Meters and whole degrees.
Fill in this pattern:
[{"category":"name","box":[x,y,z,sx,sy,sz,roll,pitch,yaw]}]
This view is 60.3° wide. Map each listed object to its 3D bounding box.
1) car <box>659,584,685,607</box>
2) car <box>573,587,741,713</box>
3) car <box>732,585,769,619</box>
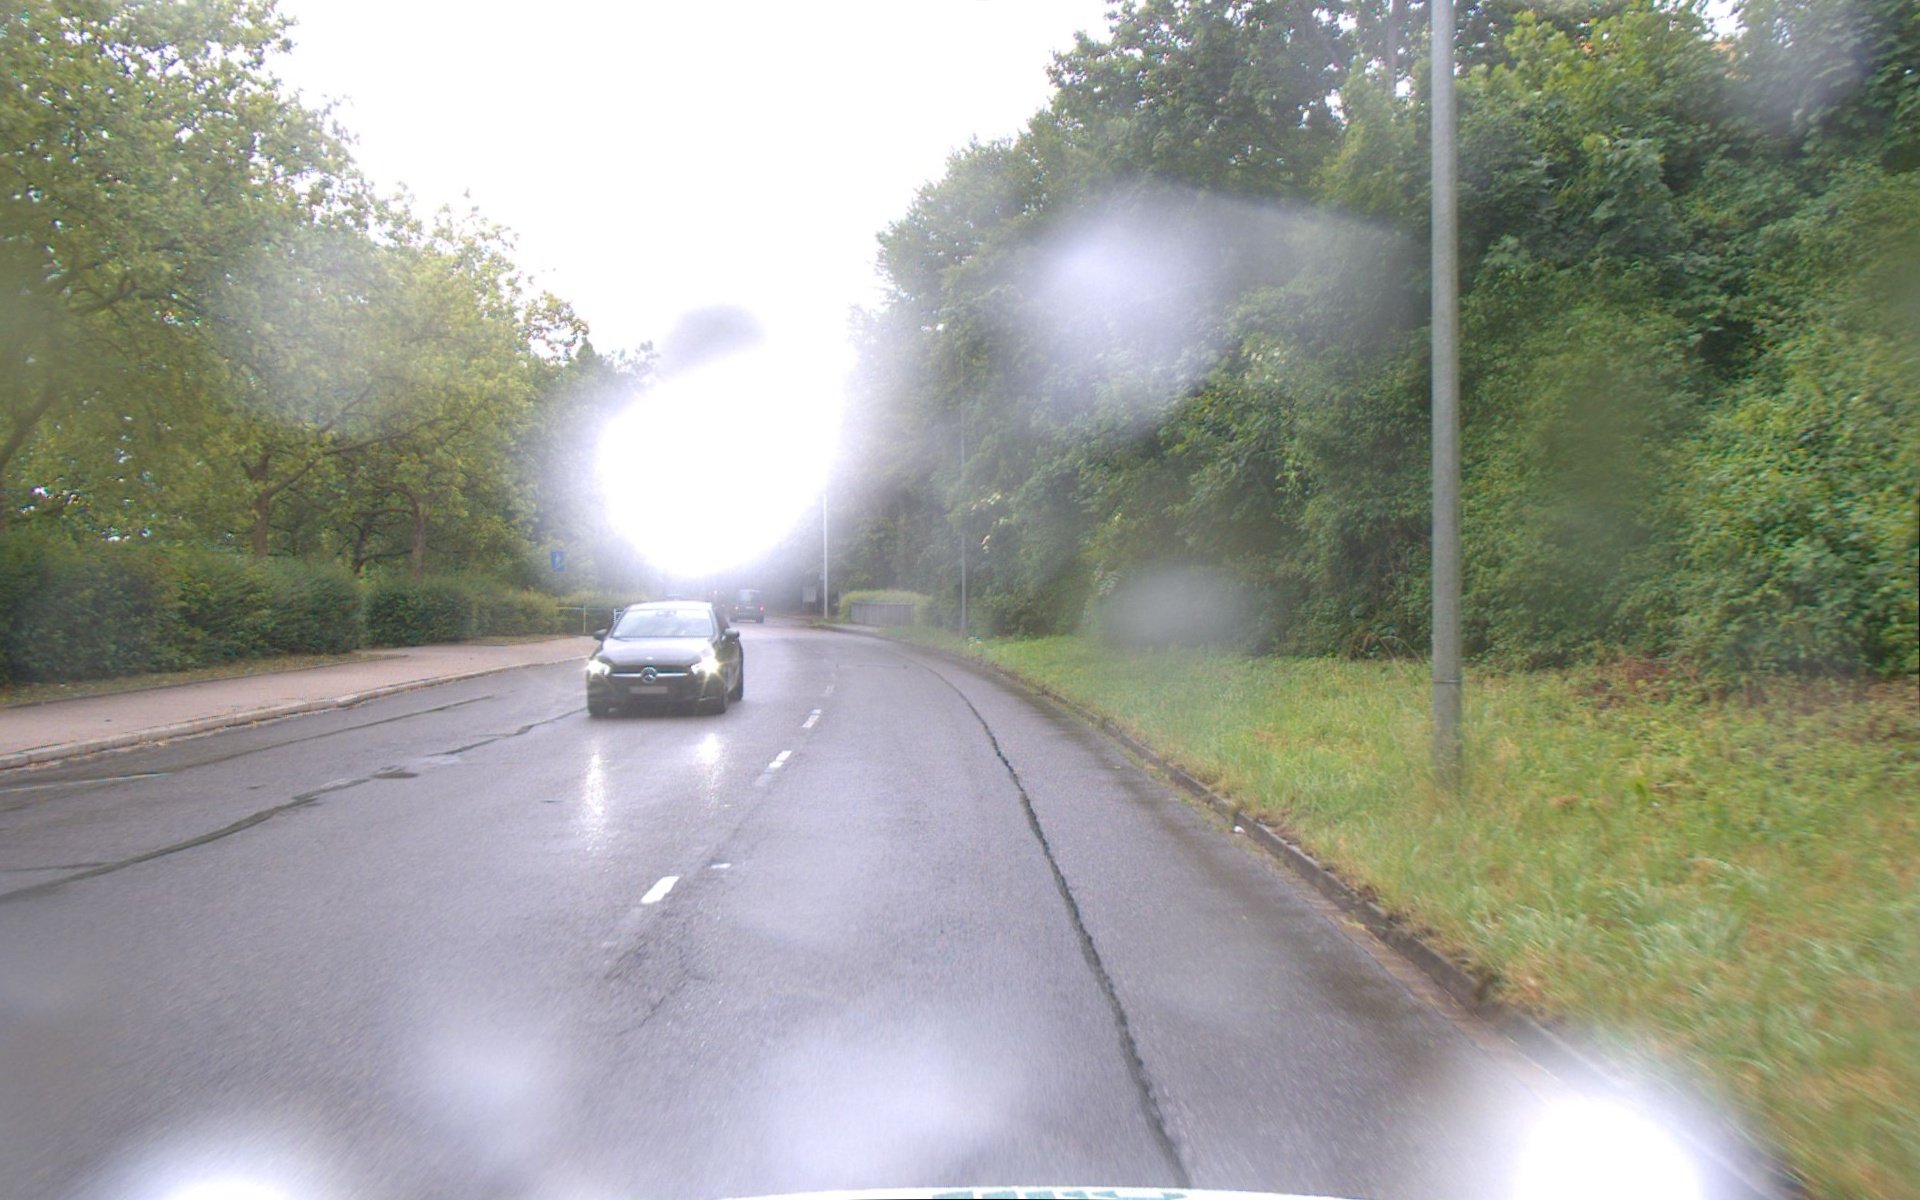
[{"category":"car","box":[-24.618,-0.373,141.184,1.959,1.847,3.987,1,-1,-12]},{"category":"car","box":[-3.954,0.612,22.162,1.791,1.490,3.996,-1,0,-5]},{"category":"car","box":[-12.193,0.106,96.186,1.949,1.959,3.991,0,0,-10]}]
